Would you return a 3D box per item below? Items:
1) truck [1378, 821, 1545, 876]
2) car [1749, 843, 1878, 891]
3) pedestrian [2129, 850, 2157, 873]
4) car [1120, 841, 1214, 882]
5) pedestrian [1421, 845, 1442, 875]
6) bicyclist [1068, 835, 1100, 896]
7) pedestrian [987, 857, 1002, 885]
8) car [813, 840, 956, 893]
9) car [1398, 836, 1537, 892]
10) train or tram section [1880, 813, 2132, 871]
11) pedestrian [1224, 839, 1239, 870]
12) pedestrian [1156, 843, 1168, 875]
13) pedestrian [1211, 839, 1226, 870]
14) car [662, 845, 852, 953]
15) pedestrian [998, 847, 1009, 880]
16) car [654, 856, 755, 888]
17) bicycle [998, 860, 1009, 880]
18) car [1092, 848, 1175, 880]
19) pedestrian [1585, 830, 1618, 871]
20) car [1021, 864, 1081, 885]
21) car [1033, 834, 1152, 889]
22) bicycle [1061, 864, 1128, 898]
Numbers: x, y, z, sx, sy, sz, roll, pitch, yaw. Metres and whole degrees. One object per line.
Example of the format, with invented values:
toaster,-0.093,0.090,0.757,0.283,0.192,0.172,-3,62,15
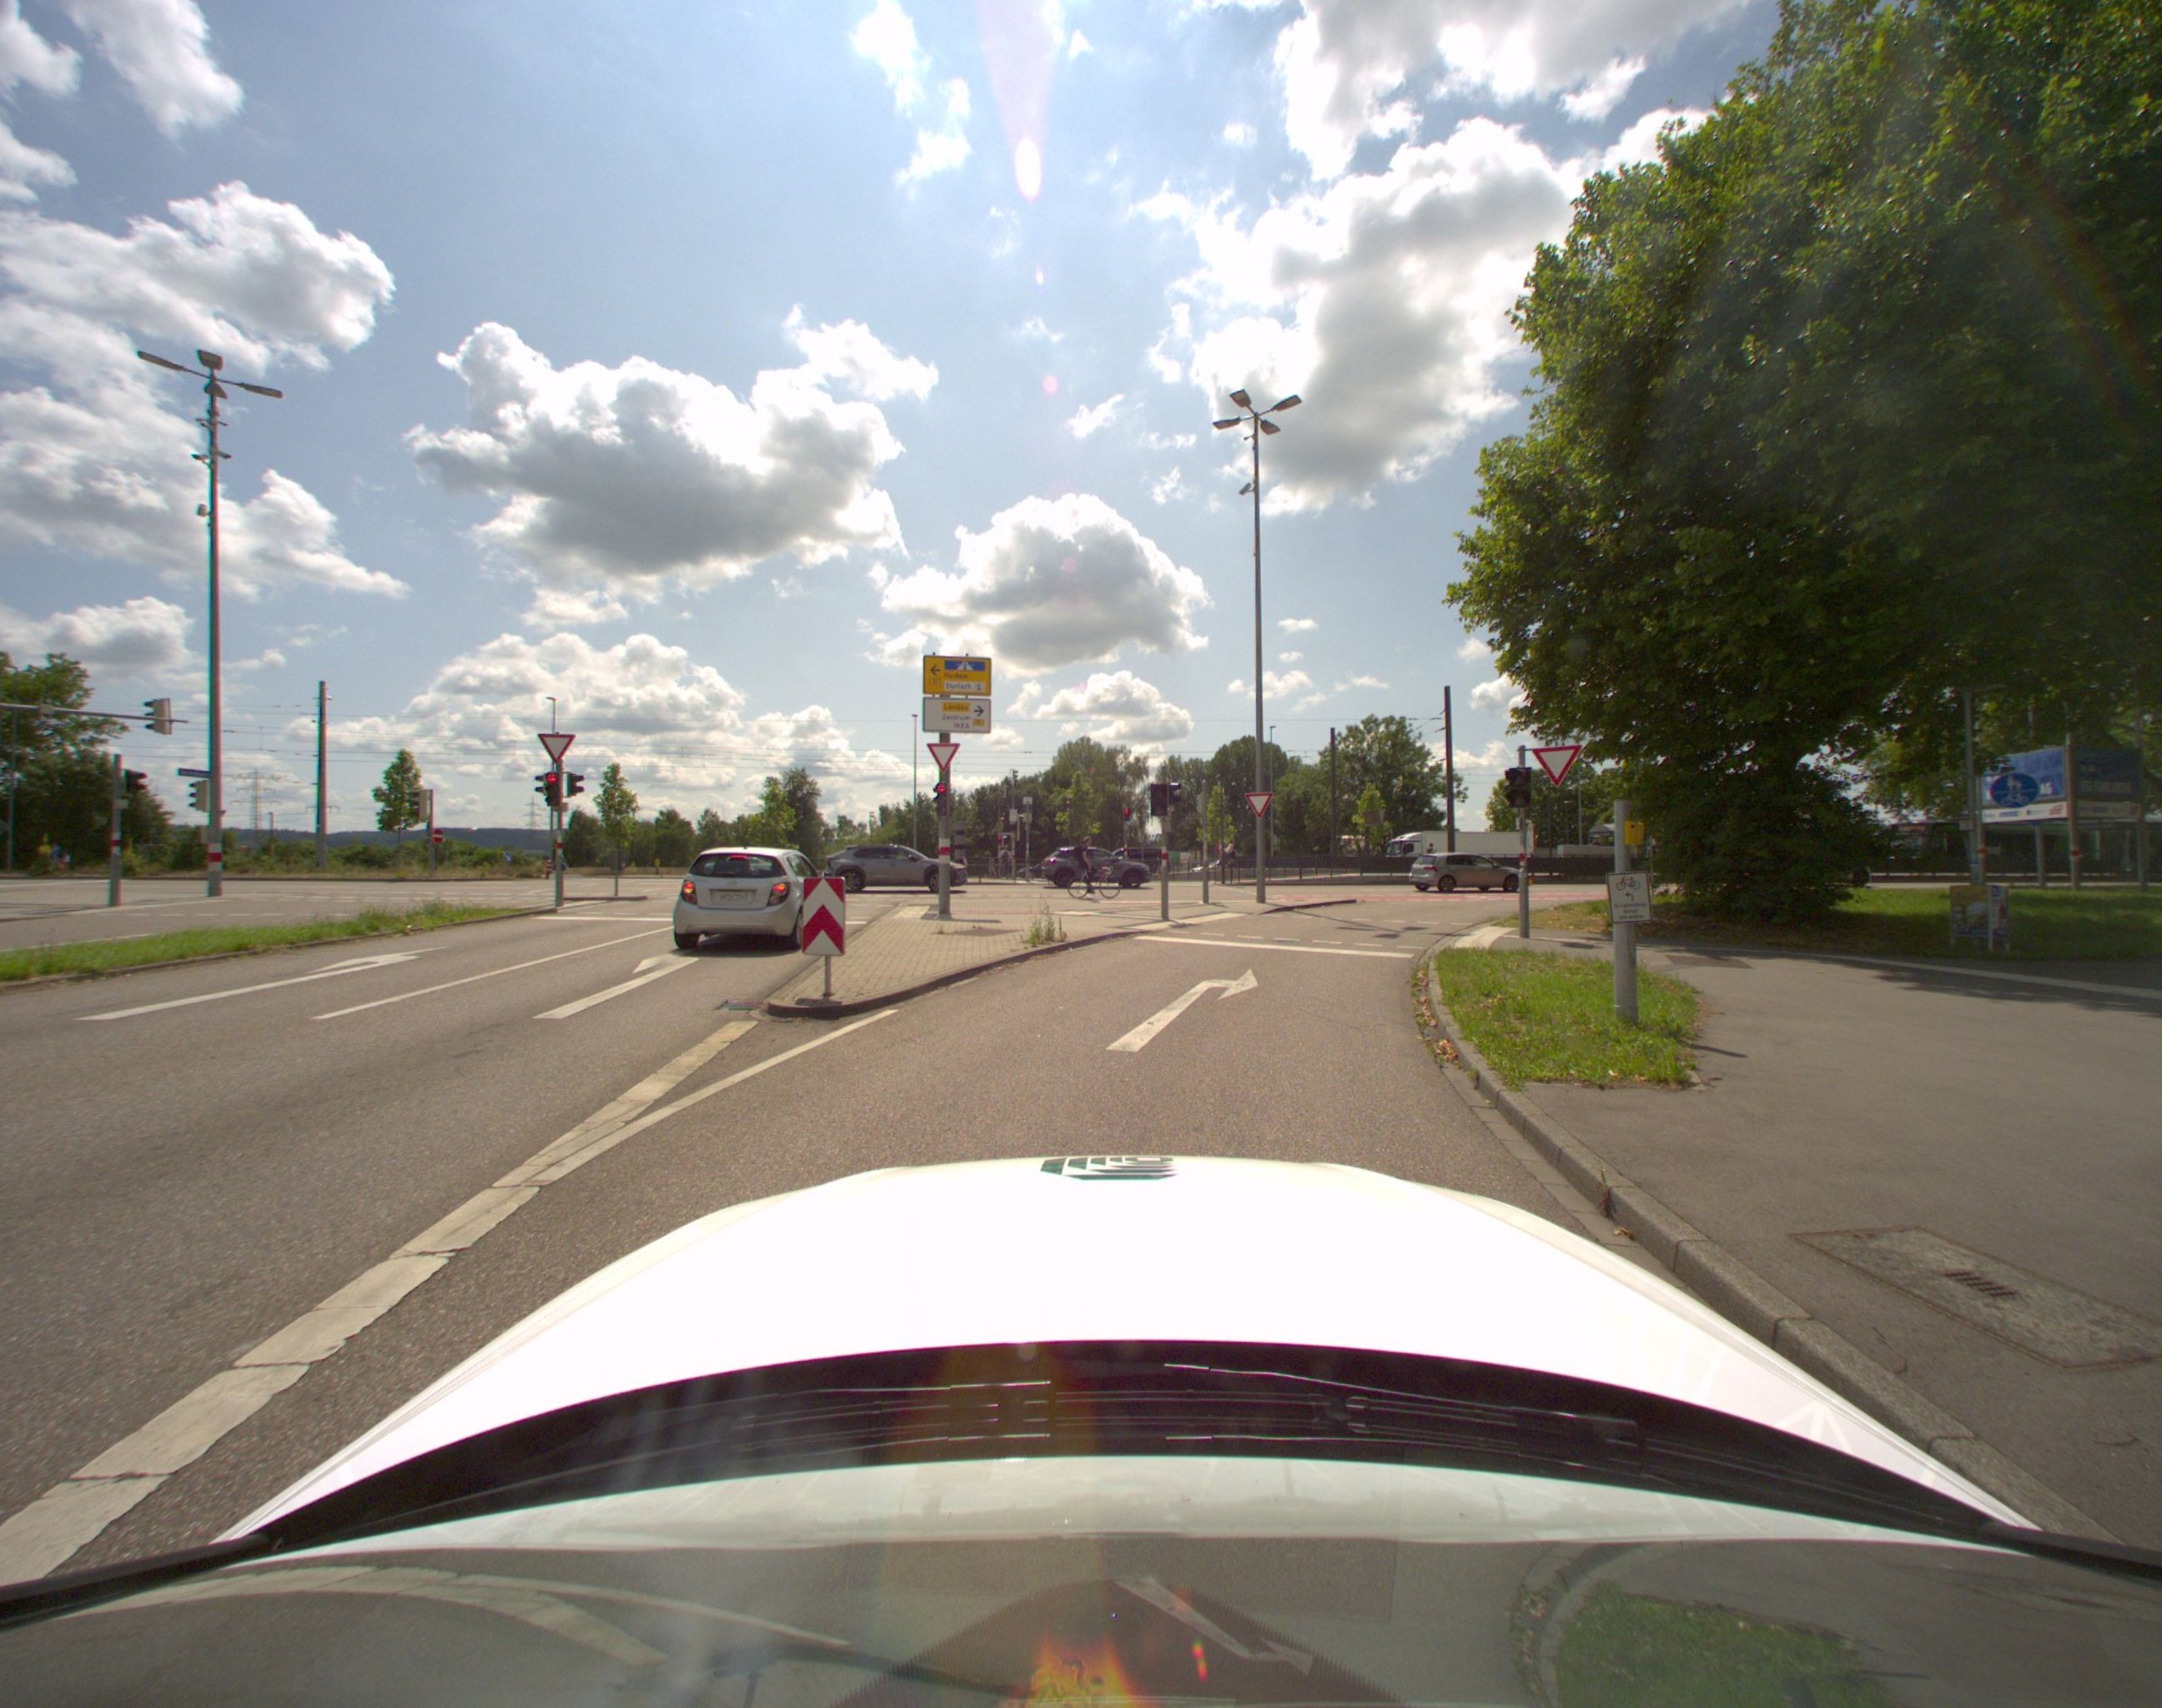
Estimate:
truck,29.302,-0.451,62.924,11.940,4.104,2.947,0,0,-6
car,32.729,0.563,36.452,4.346,1.989,1.994,-1,0,-8
pedestrian,56.999,0.386,43.718,0.639,1.190,0.693,0,1,-9
car,3.990,0.346,37.966,3.986,1.783,1.904,-1,0,-9
pedestrian,21.309,0.366,49.481,0.926,1.807,0.734,0,0,-8
bicyclist,0.096,0.353,25.355,0.920,1.846,0.609,0,0,-8
pedestrian,-6.501,1.266,61.046,0.983,2.013,0.898,-1,0,-16
car,-6.536,0.428,27.538,4.502,1.674,1.899,1,-1,-8
car,14.455,0.354,30.555,4.346,1.989,1.994,-1,0,-8
train or tram section,54.029,-0.637,47.581,14.058,3.186,3.036,0,-1,-11
pedestrian,8.374,0.022,45.298,0.675,1.748,0.636,0,1,-5
pedestrian,4.464,0.283,44.785,0.522,1.721,0.729,-1,0,-4
pedestrian,7.805,0.036,46.148,0.705,1.721,0.600,-1,0,-5
car,-5.057,0.633,13.290,1.892,1.470,3.824,1,0,-7
pedestrian,-4.261,0.509,44.741,0.610,1.769,0.671,0,0,-6
car,-22.428,1.055,48.681,5.115,1.808,1.994,-1,0,-8
bicycle,-4.265,0.869,44.773,0.618,1.087,1.719,0,0,-5
car,3.136,0.573,48.973,4.648,1.820,1.995,-1,0,-8
pedestrian,24.965,-0.172,39.102,0.991,1.939,0.873,-1,0,-9
car,-2.106,1.395,56.946,3.887,1.409,1.662,0,0,-15
car,0.407,0.283,31.417,4.346,1.989,1.994,1,-1,-8
bicycle,0.417,0.845,25.404,2.015,0.999,0.620,1,0,-8
